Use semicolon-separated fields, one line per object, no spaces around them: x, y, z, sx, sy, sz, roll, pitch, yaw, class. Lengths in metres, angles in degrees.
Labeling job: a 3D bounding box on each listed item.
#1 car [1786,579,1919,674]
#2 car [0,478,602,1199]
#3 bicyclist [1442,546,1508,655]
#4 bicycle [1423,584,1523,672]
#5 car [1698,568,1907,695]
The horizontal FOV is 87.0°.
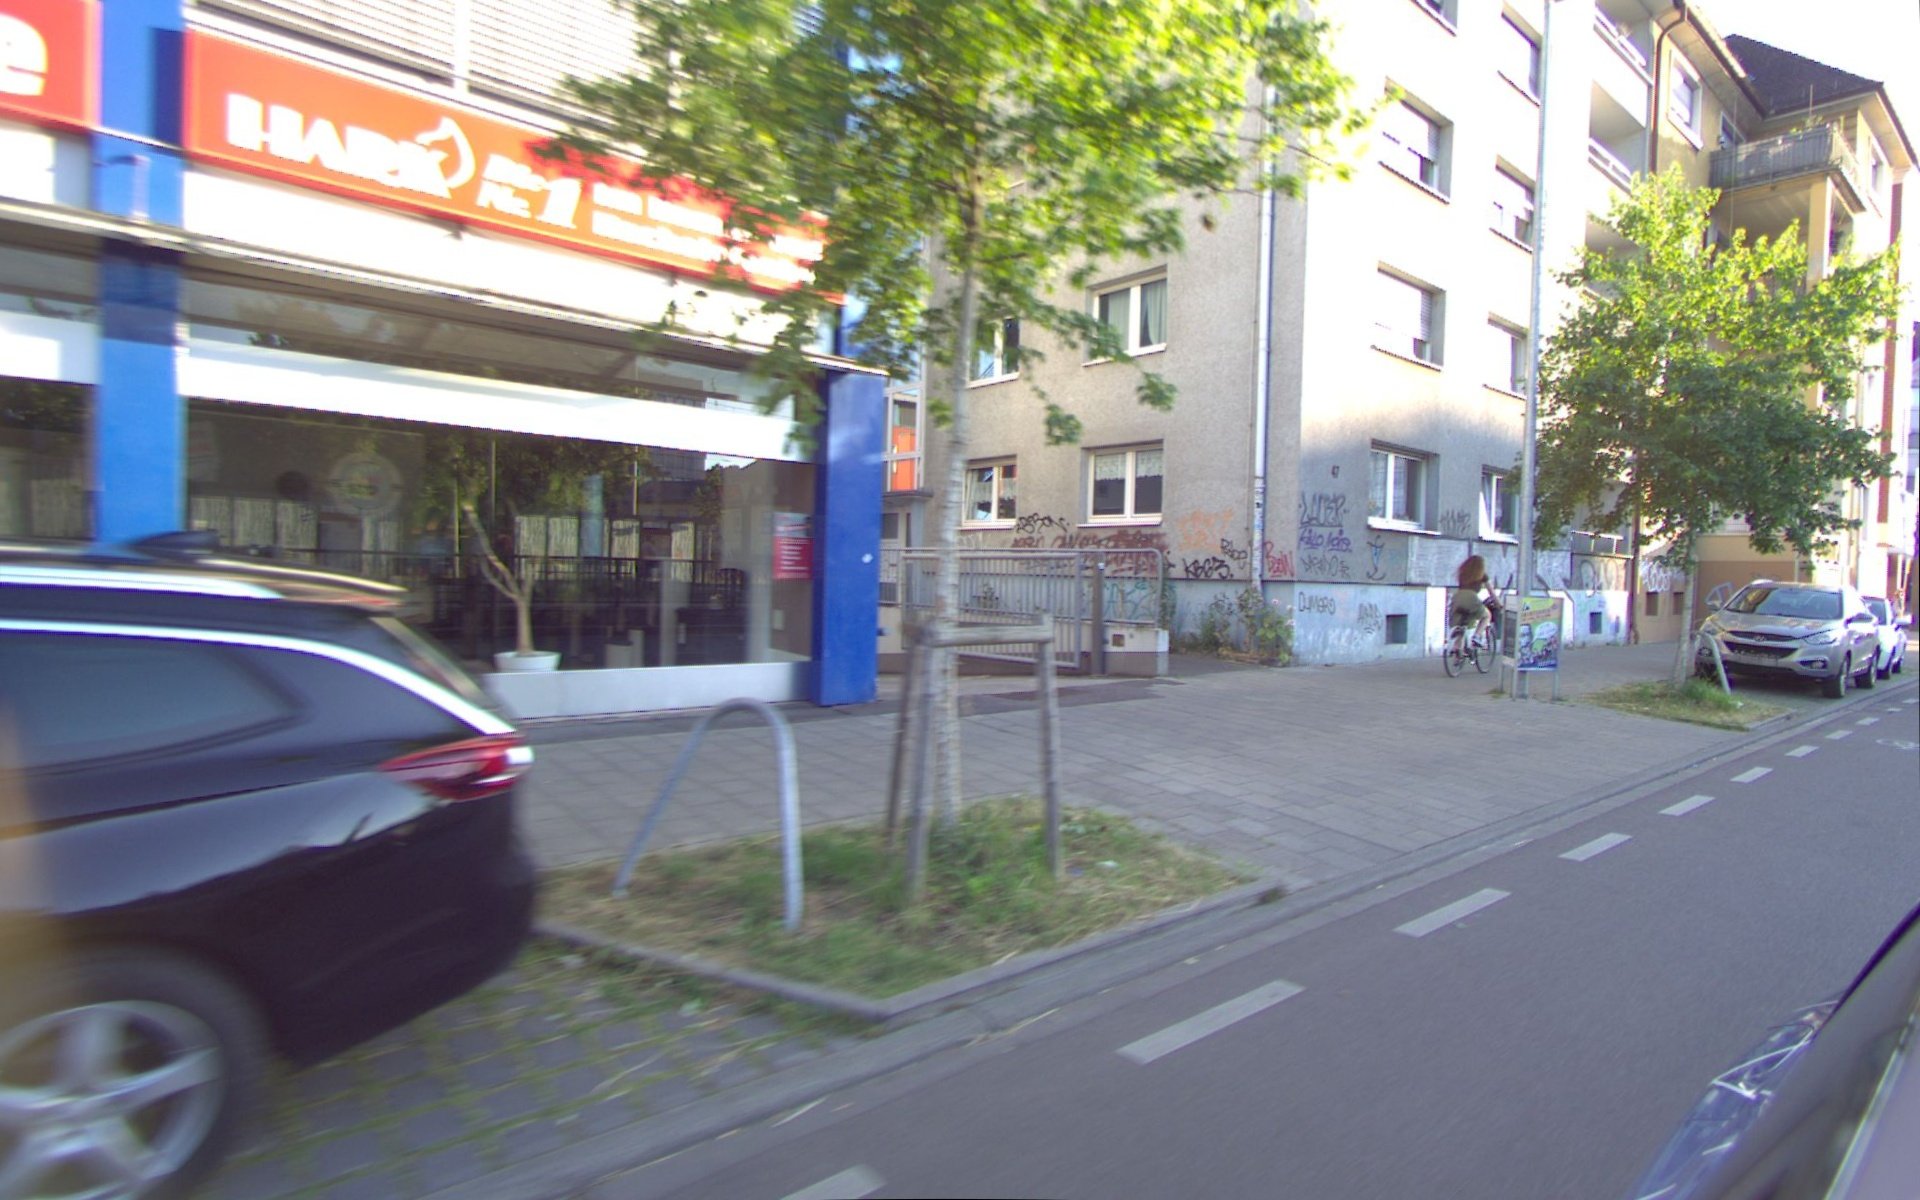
17.499;0.442;19.644;3.540;1.535;1.673;0;6;-42;car
-3.353;0.496;1.854;4.728;1.585;1.823;0;6;-42;car
7.326;-0.006;14.392;0.612;1.493;0.559;0;5;-42;bicyclist
7.346;0.359;14.454;1.940;1.143;0.555;-1;5;-43;bicycle
13.611;0.414;16.265;4.449;1.674;1.761;0;4;-40;car
